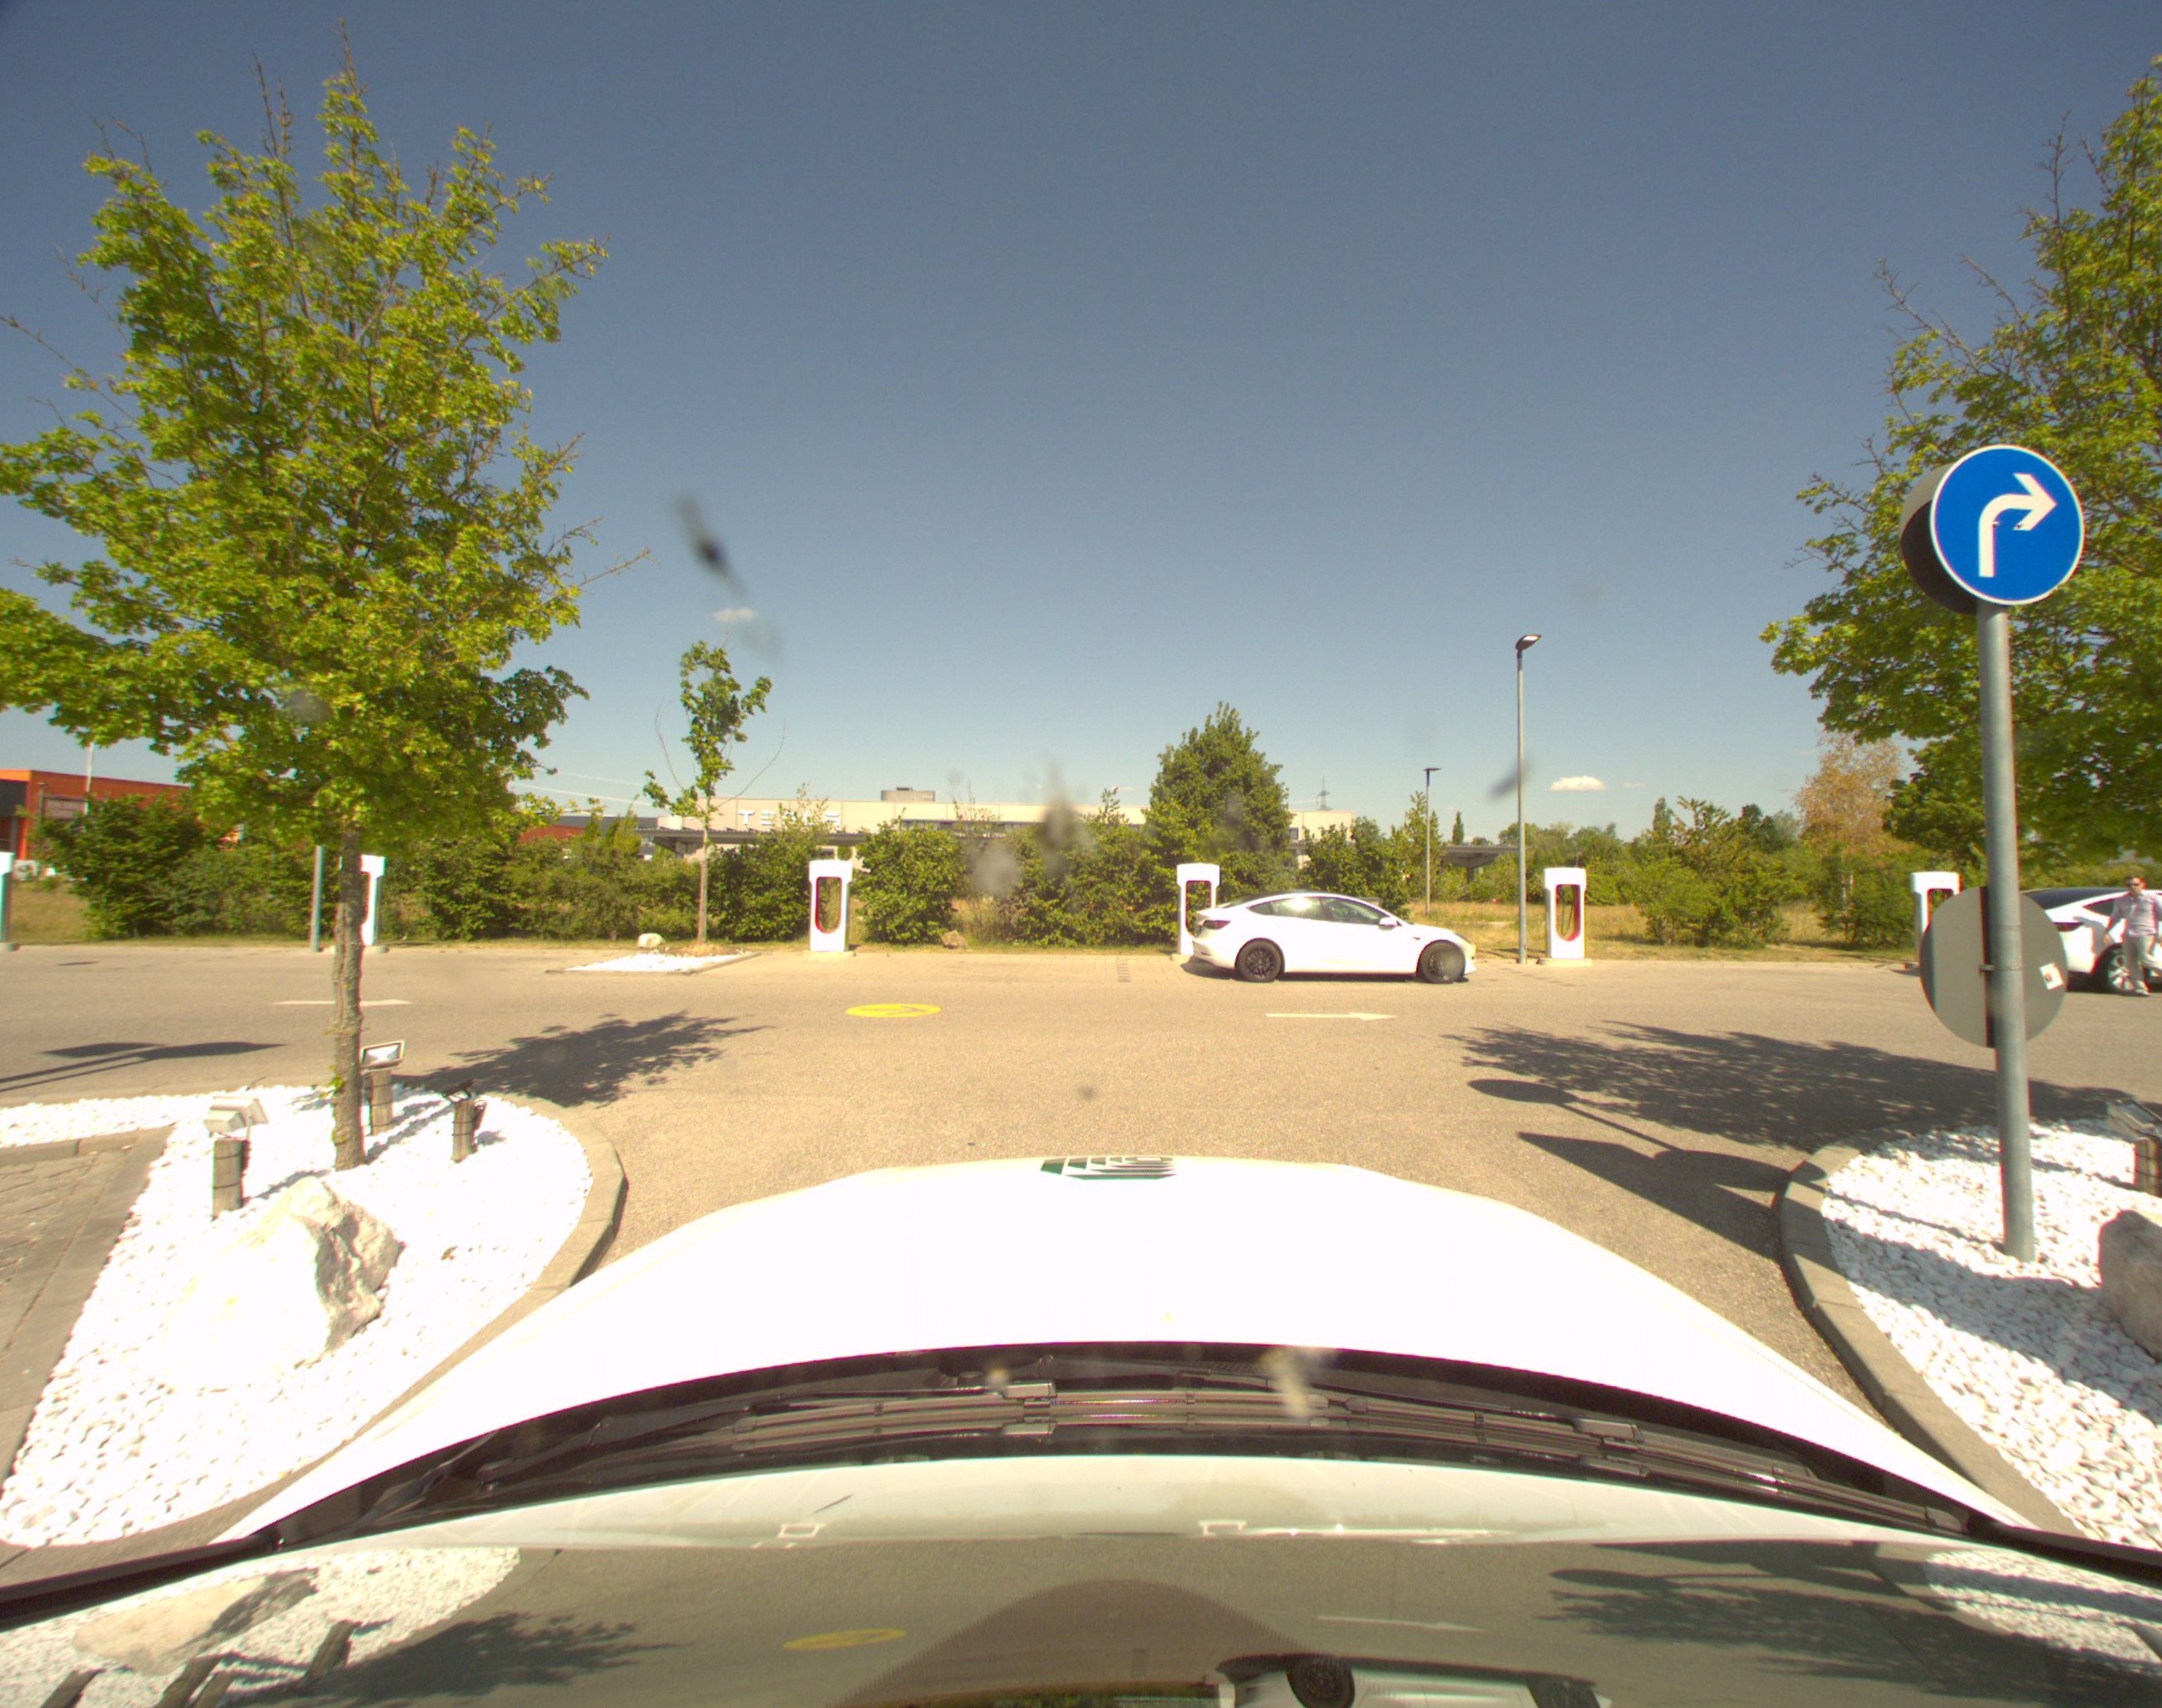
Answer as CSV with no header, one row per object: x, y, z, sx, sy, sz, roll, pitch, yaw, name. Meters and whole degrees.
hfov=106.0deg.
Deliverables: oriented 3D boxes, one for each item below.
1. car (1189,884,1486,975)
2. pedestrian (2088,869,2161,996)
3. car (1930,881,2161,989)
4.127,1.218,13.624,4.419,1.378,1.822,0,-2,0,car
15.863,1.132,12.033,1.028,1.800,0.737,0,-1,1,pedestrian
17.051,1.260,13.347,4.463,1.600,1.868,0,-1,-3,car
